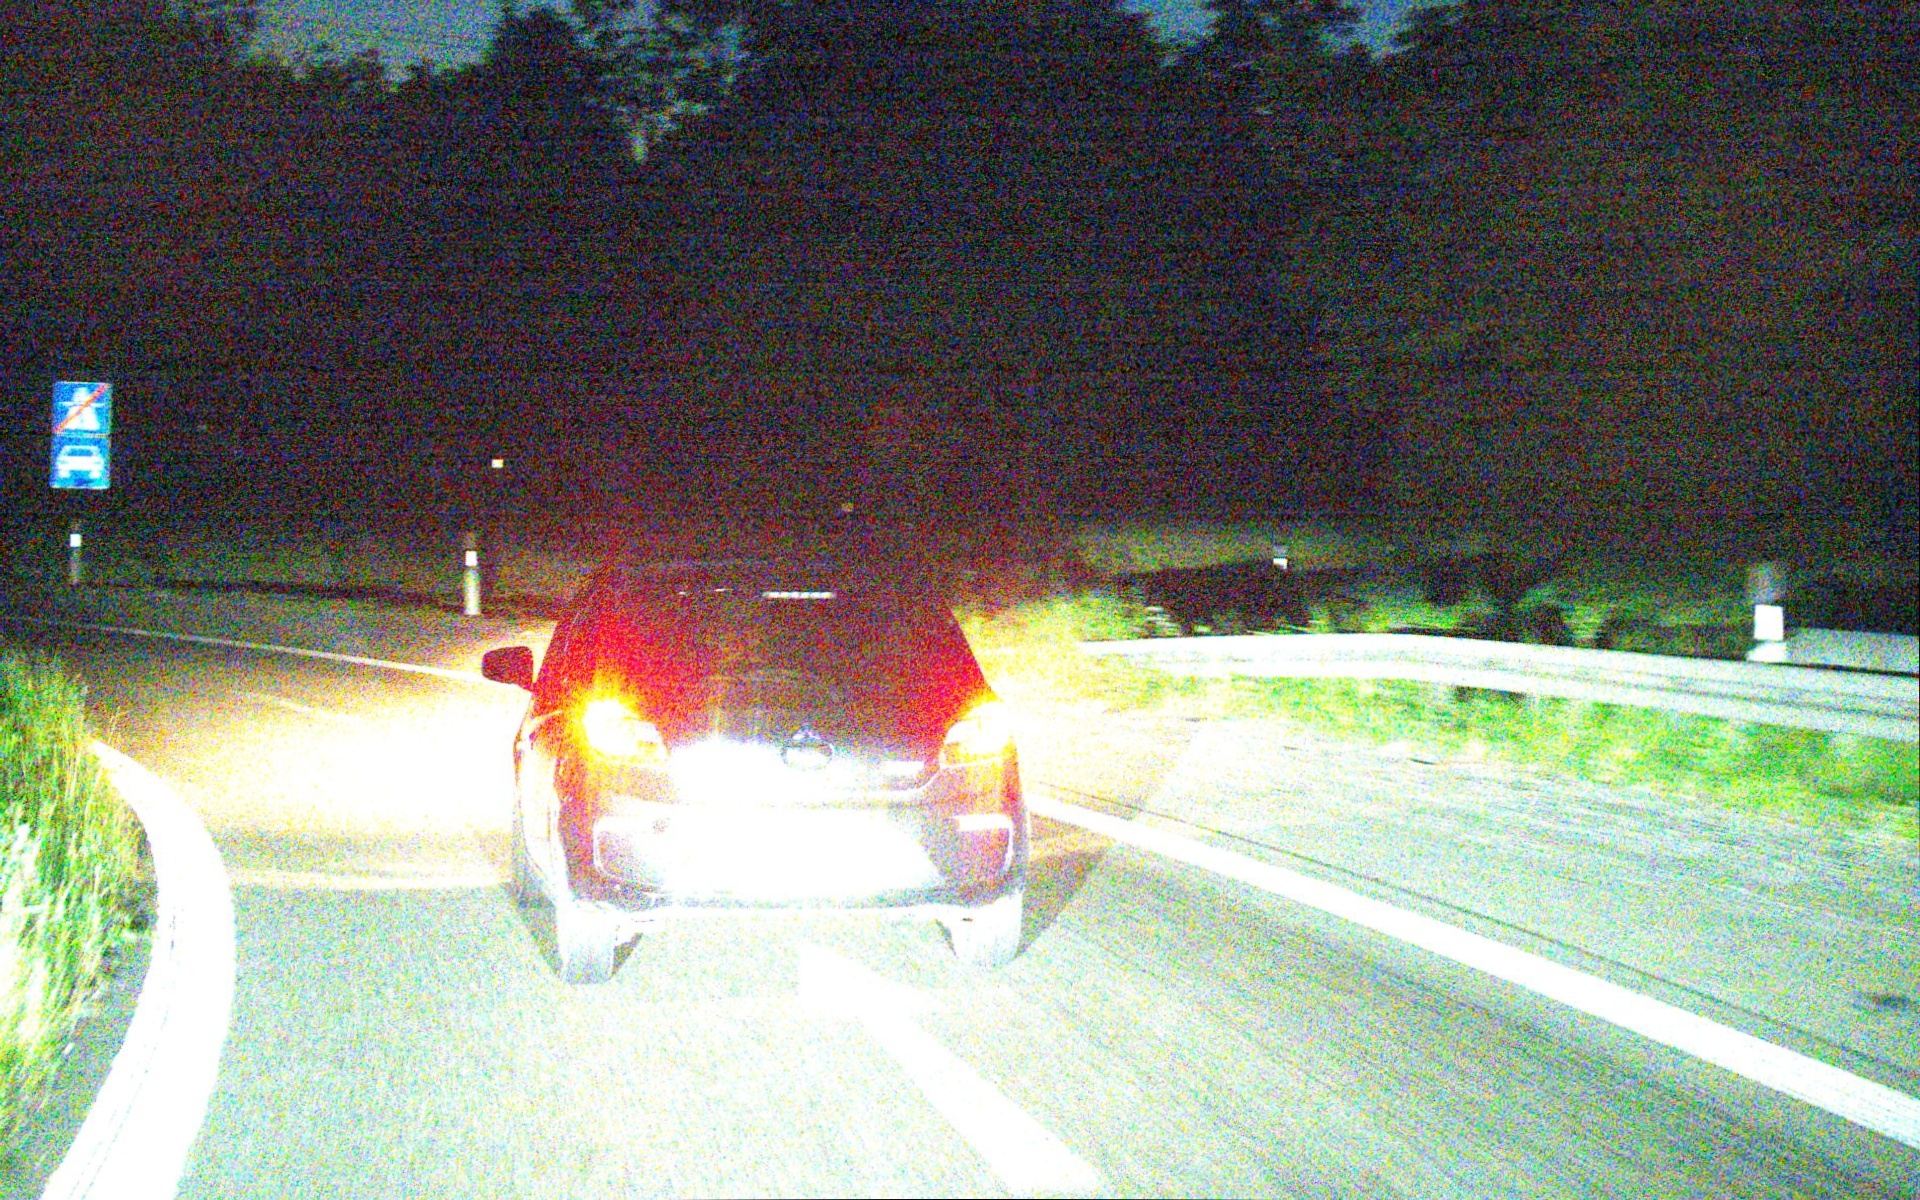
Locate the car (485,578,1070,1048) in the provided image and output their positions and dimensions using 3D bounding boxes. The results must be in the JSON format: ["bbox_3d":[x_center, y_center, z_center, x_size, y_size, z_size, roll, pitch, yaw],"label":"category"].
[{"bbox_3d":[-0.853,0.672,13.185,1.691,1.473,4.001,-1,1,-11],"label":"car"}]
